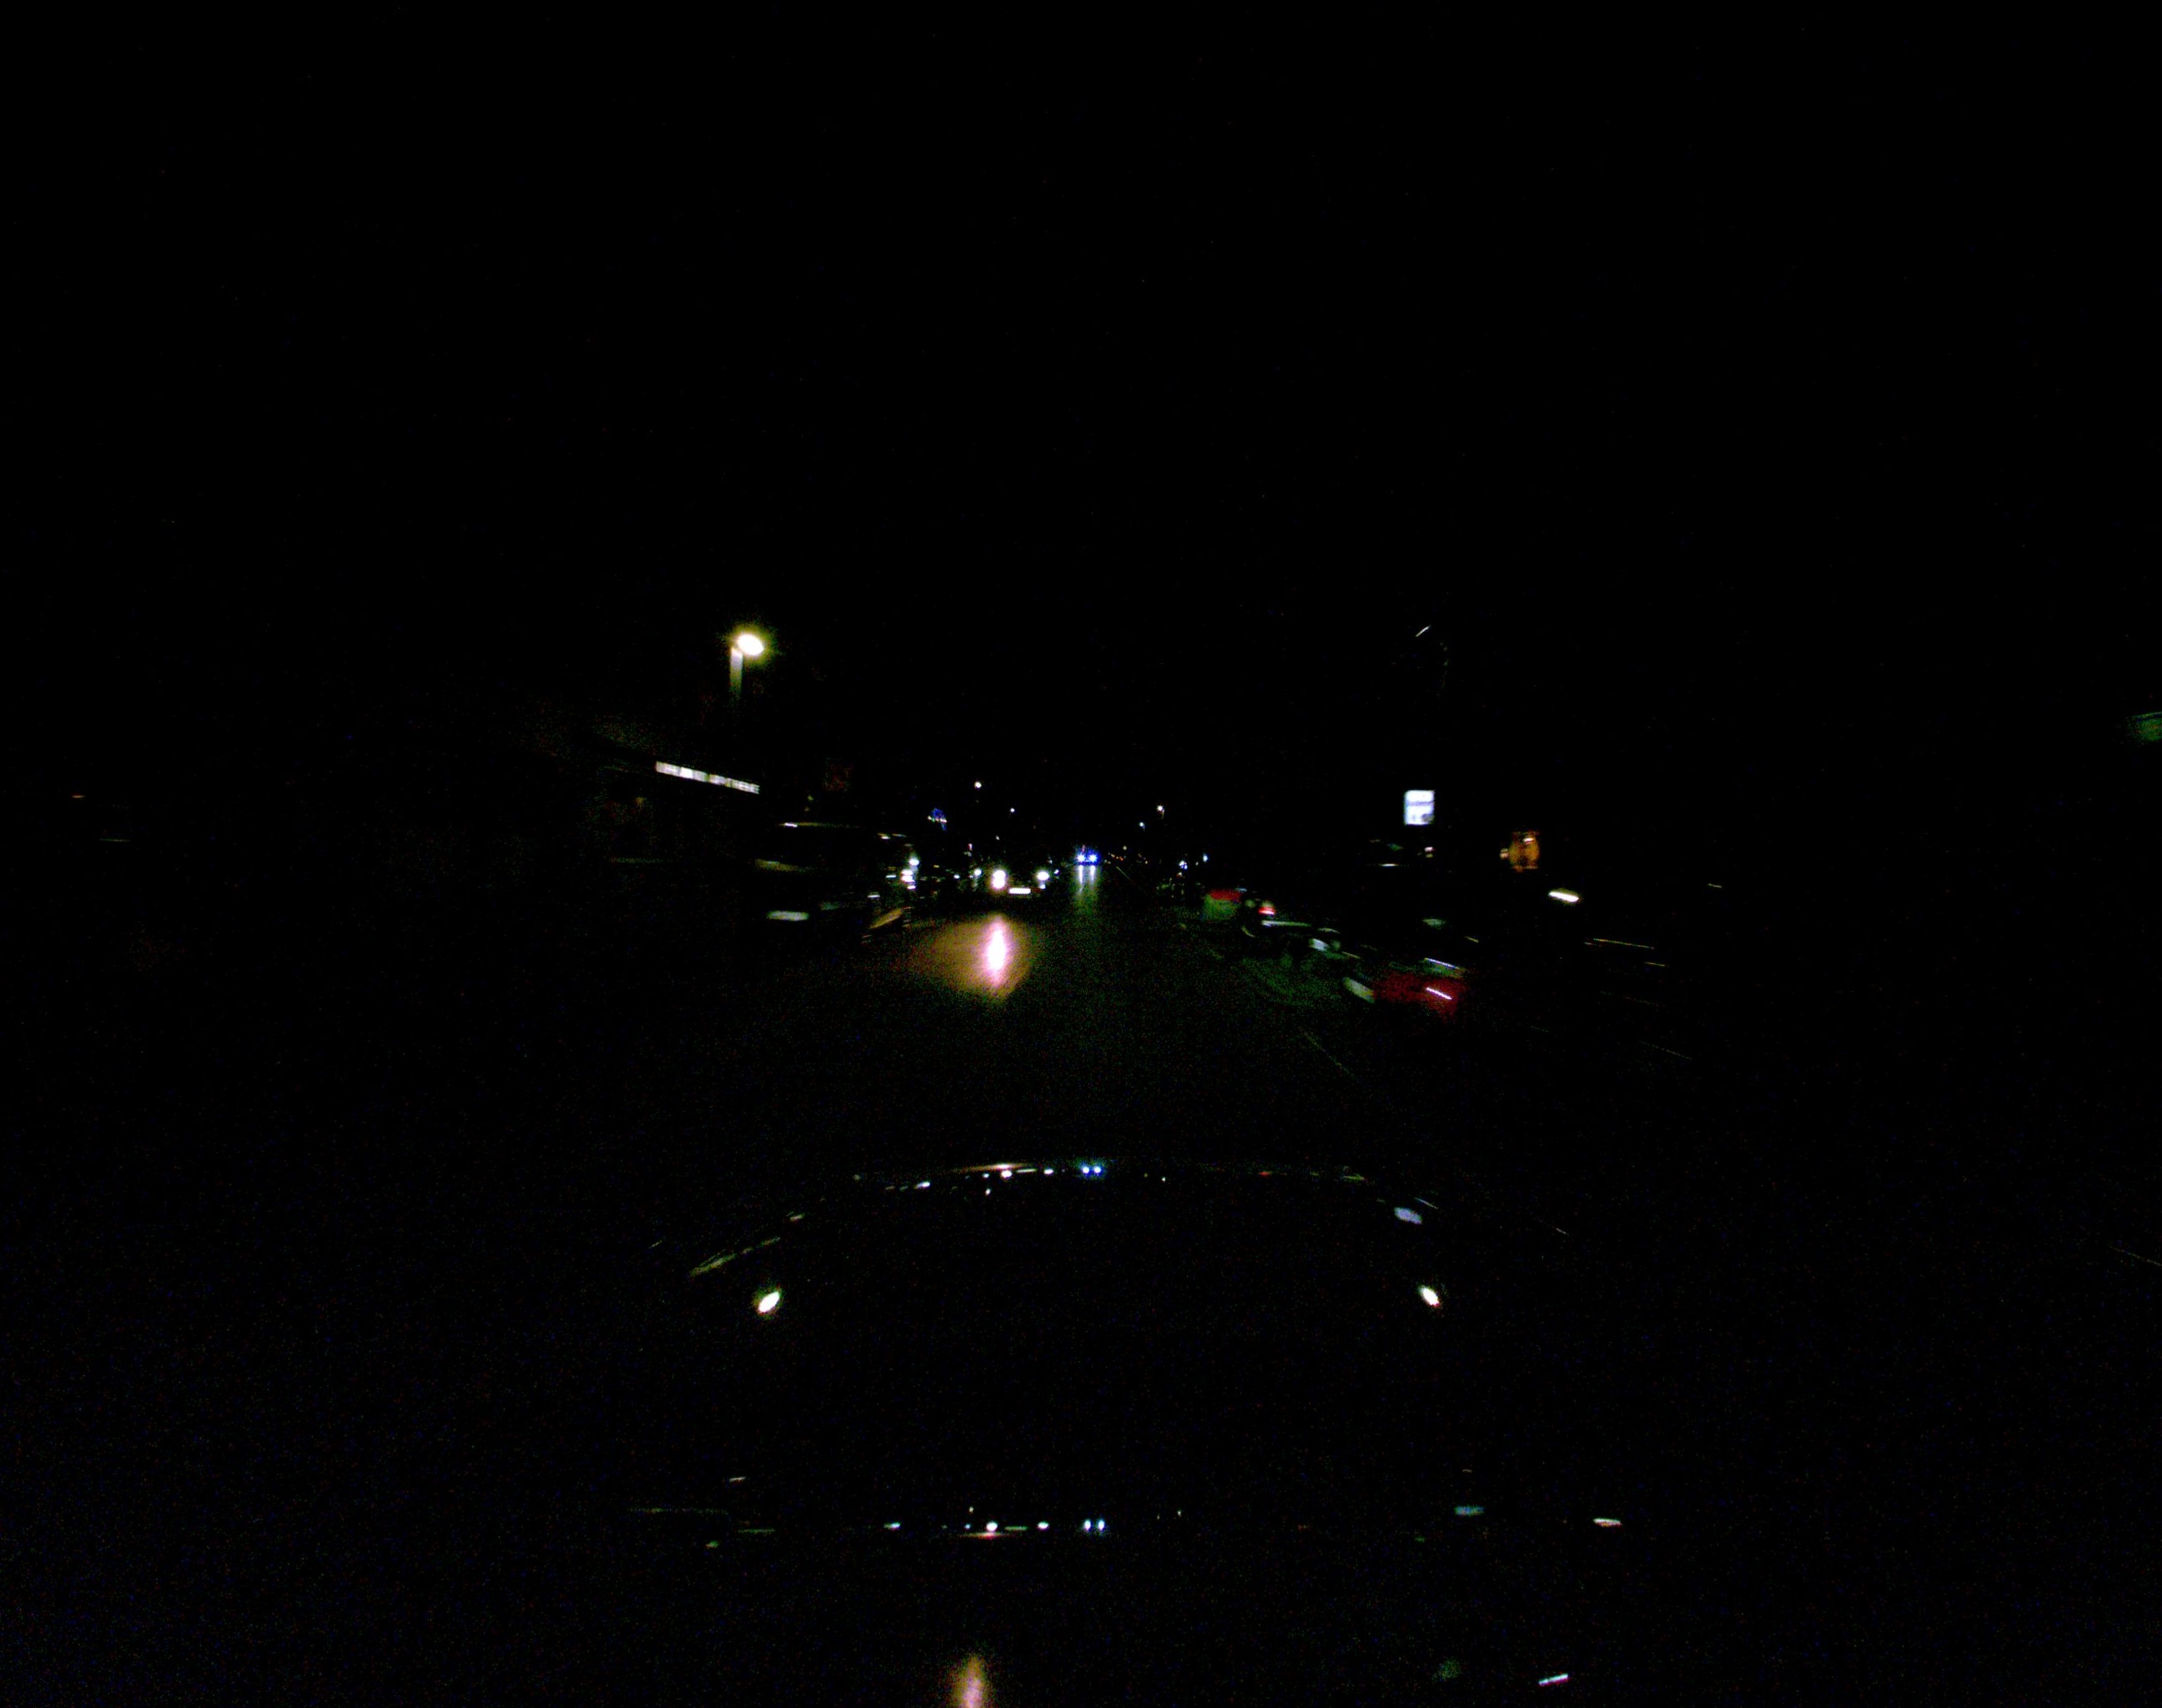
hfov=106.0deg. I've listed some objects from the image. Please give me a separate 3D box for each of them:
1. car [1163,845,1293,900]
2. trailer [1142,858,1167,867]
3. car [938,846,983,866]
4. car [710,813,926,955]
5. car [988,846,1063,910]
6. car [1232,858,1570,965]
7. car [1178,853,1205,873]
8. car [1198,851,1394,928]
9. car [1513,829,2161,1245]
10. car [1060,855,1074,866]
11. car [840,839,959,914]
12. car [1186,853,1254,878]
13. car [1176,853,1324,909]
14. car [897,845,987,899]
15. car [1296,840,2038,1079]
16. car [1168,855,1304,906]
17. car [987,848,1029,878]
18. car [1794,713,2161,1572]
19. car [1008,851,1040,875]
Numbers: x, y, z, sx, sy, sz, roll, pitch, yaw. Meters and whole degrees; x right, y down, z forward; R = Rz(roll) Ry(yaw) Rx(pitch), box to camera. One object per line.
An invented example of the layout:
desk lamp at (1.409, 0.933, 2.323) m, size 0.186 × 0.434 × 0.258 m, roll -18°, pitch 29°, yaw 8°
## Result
car at (5.096, 0.621, 28.617) m, size 4.332 × 1.816 × 2.035 m, roll 1°, pitch 0°, yaw 6°
trailer at (10.367, 1.186, 114.978) m, size 3.420 × 1.002 × 1.954 m, roll 5°, pitch 0°, yaw 1°
car at (-11.000, 0.152, 74.611) m, size 3.982 × 1.703 × 1.944 m, roll -1°, pitch 0°, yaw -6°
car at (-4.321, 0.434, 14.375) m, size 2.109 × 1.946 × 4.887 m, roll 4°, pitch 0°, yaw 0°
car at (-1.549, 0.635, 23.918) m, size 1.712 × 1.715 × 3.964 m, roll 1°, pitch 0°, yaw 3°
car at (4.608, 0.794, 12.278) m, size 4.380 × 1.420 × 1.936 m, roll 1°, pitch 0°, yaw 2°
car at (8.692, 0.677, 64.331) m, size 1.634 × 1.560 × 3.678 m, roll 1°, pitch 0°, yaw 1°
car at (4.575, 0.725, 17.876) m, size 3.897 × 1.551 × 1.991 m, roll 1°, pitch 0°, yaw 5°
car at (4.689, 0.725, 4.099) m, size 3.971 × 1.557 × 2.001 m, roll 1°, pitch 0°, yaw 2°
car at (-2.089, 0.965, 122.955) m, size 1.665 × 1.591 × 3.990 m, roll 2°, pitch 0°, yaw 3°
car at (-4.541, 0.510, 21.066) m, size 2.109 × 1.670 × 4.168 m, roll 2°, pitch 0°, yaw 0°
car at (8.466, 0.693, 49.848) m, size 3.890 × 1.486 × 1.833 m, roll 0°, pitch 0°, yaw 1°
car at (4.786, 0.764, 23.465) m, size 3.903 × 1.514 × 1.854 m, roll 0°, pitch -1°, yaw 0°
car at (-4.436, 0.537, 26.729) m, size 2.109 × 1.548 × 4.476 m, roll 2°, pitch 0°, yaw 0°
car at (4.373, 0.730, 6.778) m, size 4.636 × 1.557 × 2.107 m, roll 1°, pitch 0°, yaw 2°
car at (4.810, 0.805, 25.609) m, size 3.906 × 1.514 × 1.853 m, roll 1°, pitch 0°, yaw -2°
car at (-4.220, 0.494, 47.469) m, size 1.922 × 1.636 × 4.471 m, roll 3°, pitch 0°, yaw 0°
car at (4.258, 0.616, 1.355) m, size 4.255 × 1.697 × 2.003 m, roll 1°, pitch 0°, yaw 6°
car at (-3.668, 0.558, 52.799) m, size 1.765 × 1.468 × 3.966 m, roll 1°, pitch 0°, yaw 0°
